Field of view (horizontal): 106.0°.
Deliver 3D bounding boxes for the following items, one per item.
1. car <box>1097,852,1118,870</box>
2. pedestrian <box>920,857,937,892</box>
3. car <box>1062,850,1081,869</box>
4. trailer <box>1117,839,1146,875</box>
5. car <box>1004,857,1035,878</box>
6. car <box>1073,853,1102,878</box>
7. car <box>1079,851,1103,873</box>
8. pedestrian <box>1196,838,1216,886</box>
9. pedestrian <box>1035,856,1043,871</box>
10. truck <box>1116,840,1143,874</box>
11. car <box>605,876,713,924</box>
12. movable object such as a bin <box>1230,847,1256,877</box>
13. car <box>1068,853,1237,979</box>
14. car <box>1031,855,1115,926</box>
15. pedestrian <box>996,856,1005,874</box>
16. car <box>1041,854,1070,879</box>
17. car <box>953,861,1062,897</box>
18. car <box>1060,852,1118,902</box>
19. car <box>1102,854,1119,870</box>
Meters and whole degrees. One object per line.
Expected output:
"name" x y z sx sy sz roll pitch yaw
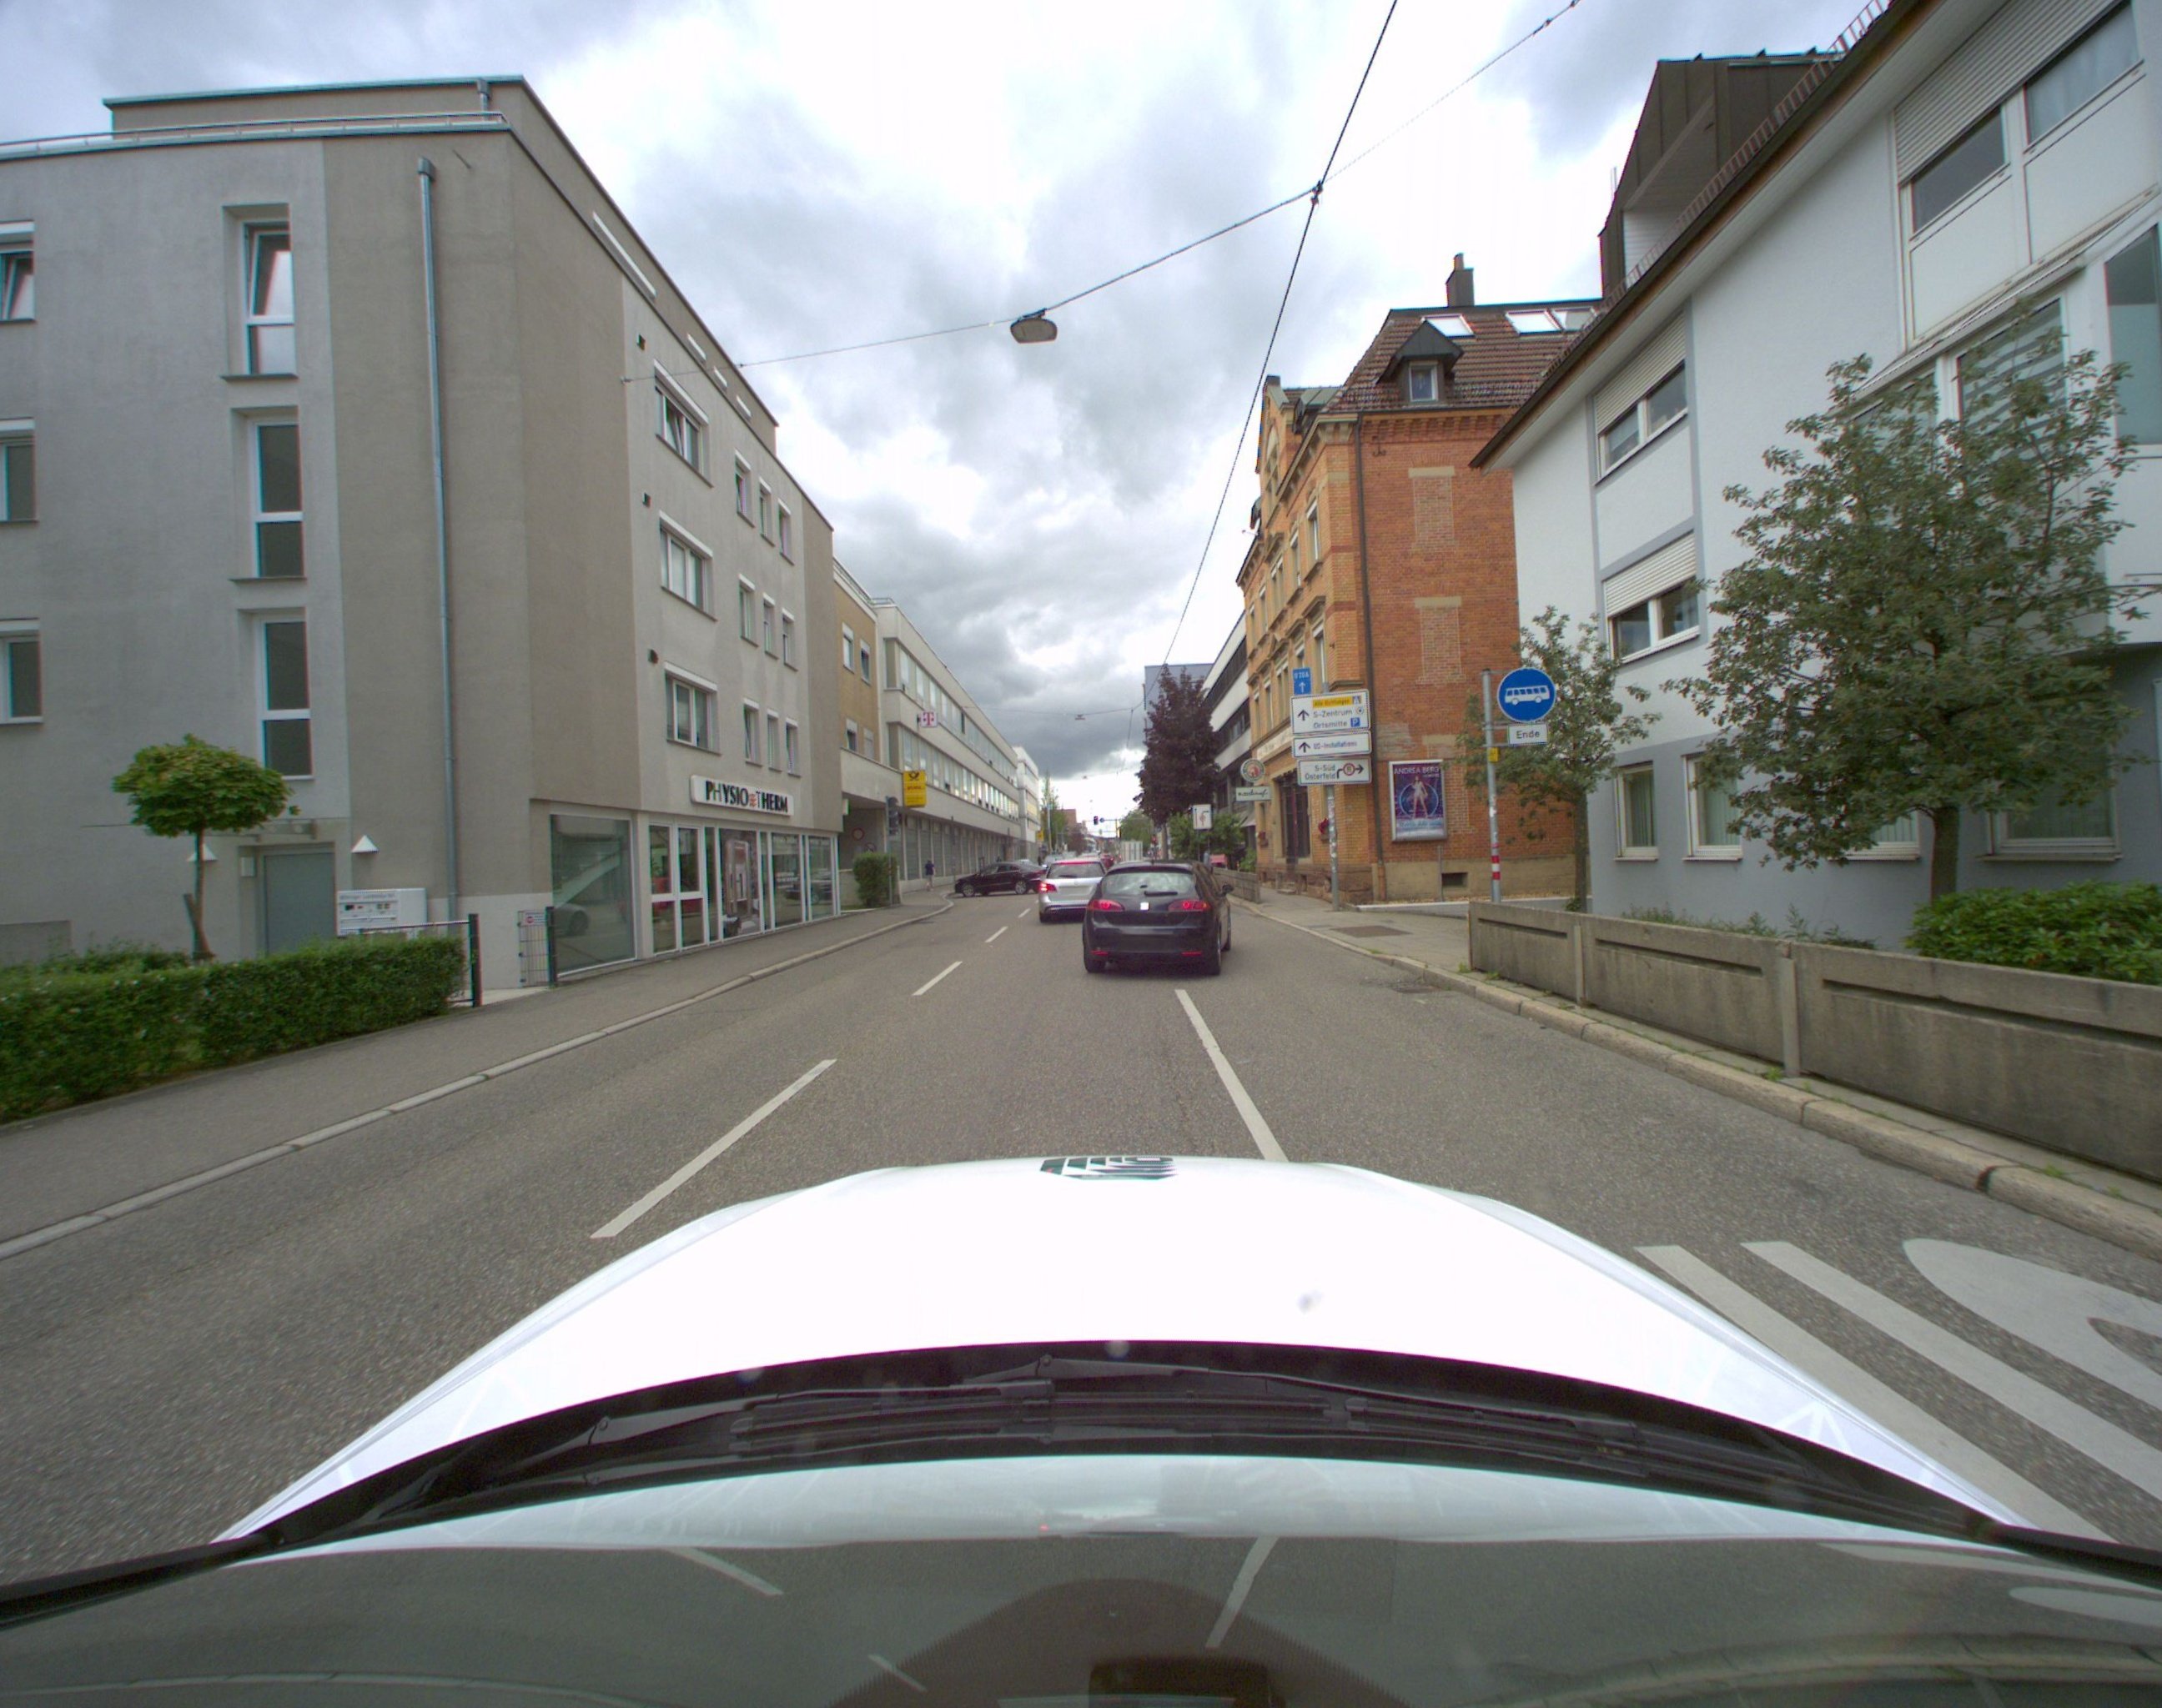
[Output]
"car" 2.454 0.685 76.128 1.797 1.601 3.738 -1 0 1
"pedestrian" -7.856 1.066 42.068 0.640 1.769 0.810 -3 0 0
"car" -1.054 0.567 93.573 1.987 2.013 4.903 -3 0 1
"trailer" 3.917 0.236 63.888 1.987 2.607 5.350 -2 0 1
"car" -4.747 1.007 63.803 1.987 1.517 4.175 -2 0 1
"car" 0.457 0.727 54.569 1.797 1.601 3.738 -1 0 1
"car" 0.786 0.607 62.430 1.797 1.601 3.738 -1 0 1
"pedestrian" 5.353 0.349 34.902 0.691 2.013 0.676 -3 0 0
"pedestrian" -5.225 1.202 101.337 0.915 1.869 0.783 -3 0 0
"truck" 3.960 0.230 66.656 1.987 2.607 3.260 -2 0 1
"car" -14.659 1.558 28.530 1.747 1.457 3.692 -1 0 2
"movable object such as a bin" 8.309 0.420 41.843 0.940 1.470 1.445 -4 0 -1
"car" 1.186 0.749 11.552 1.753 1.433 3.843 -2 0 14
"car" -0.144 0.807 19.807 1.797 1.492 3.738 -2 0 1
"pedestrian" -7.471 1.029 75.217 0.653 1.623 0.681 -2 0 2
"car" -1.926 0.922 63.060 1.987 1.738 4.554 -4 0 1
"car" -3.236 1.088 35.758 4.360 1.365 1.795 -2 0 22
"car" 0.289 0.750 28.338 1.797 1.553 3.738 -2 0 1
"car" 3.178 0.867 88.562 1.797 1.601 3.738 -1 0 1
